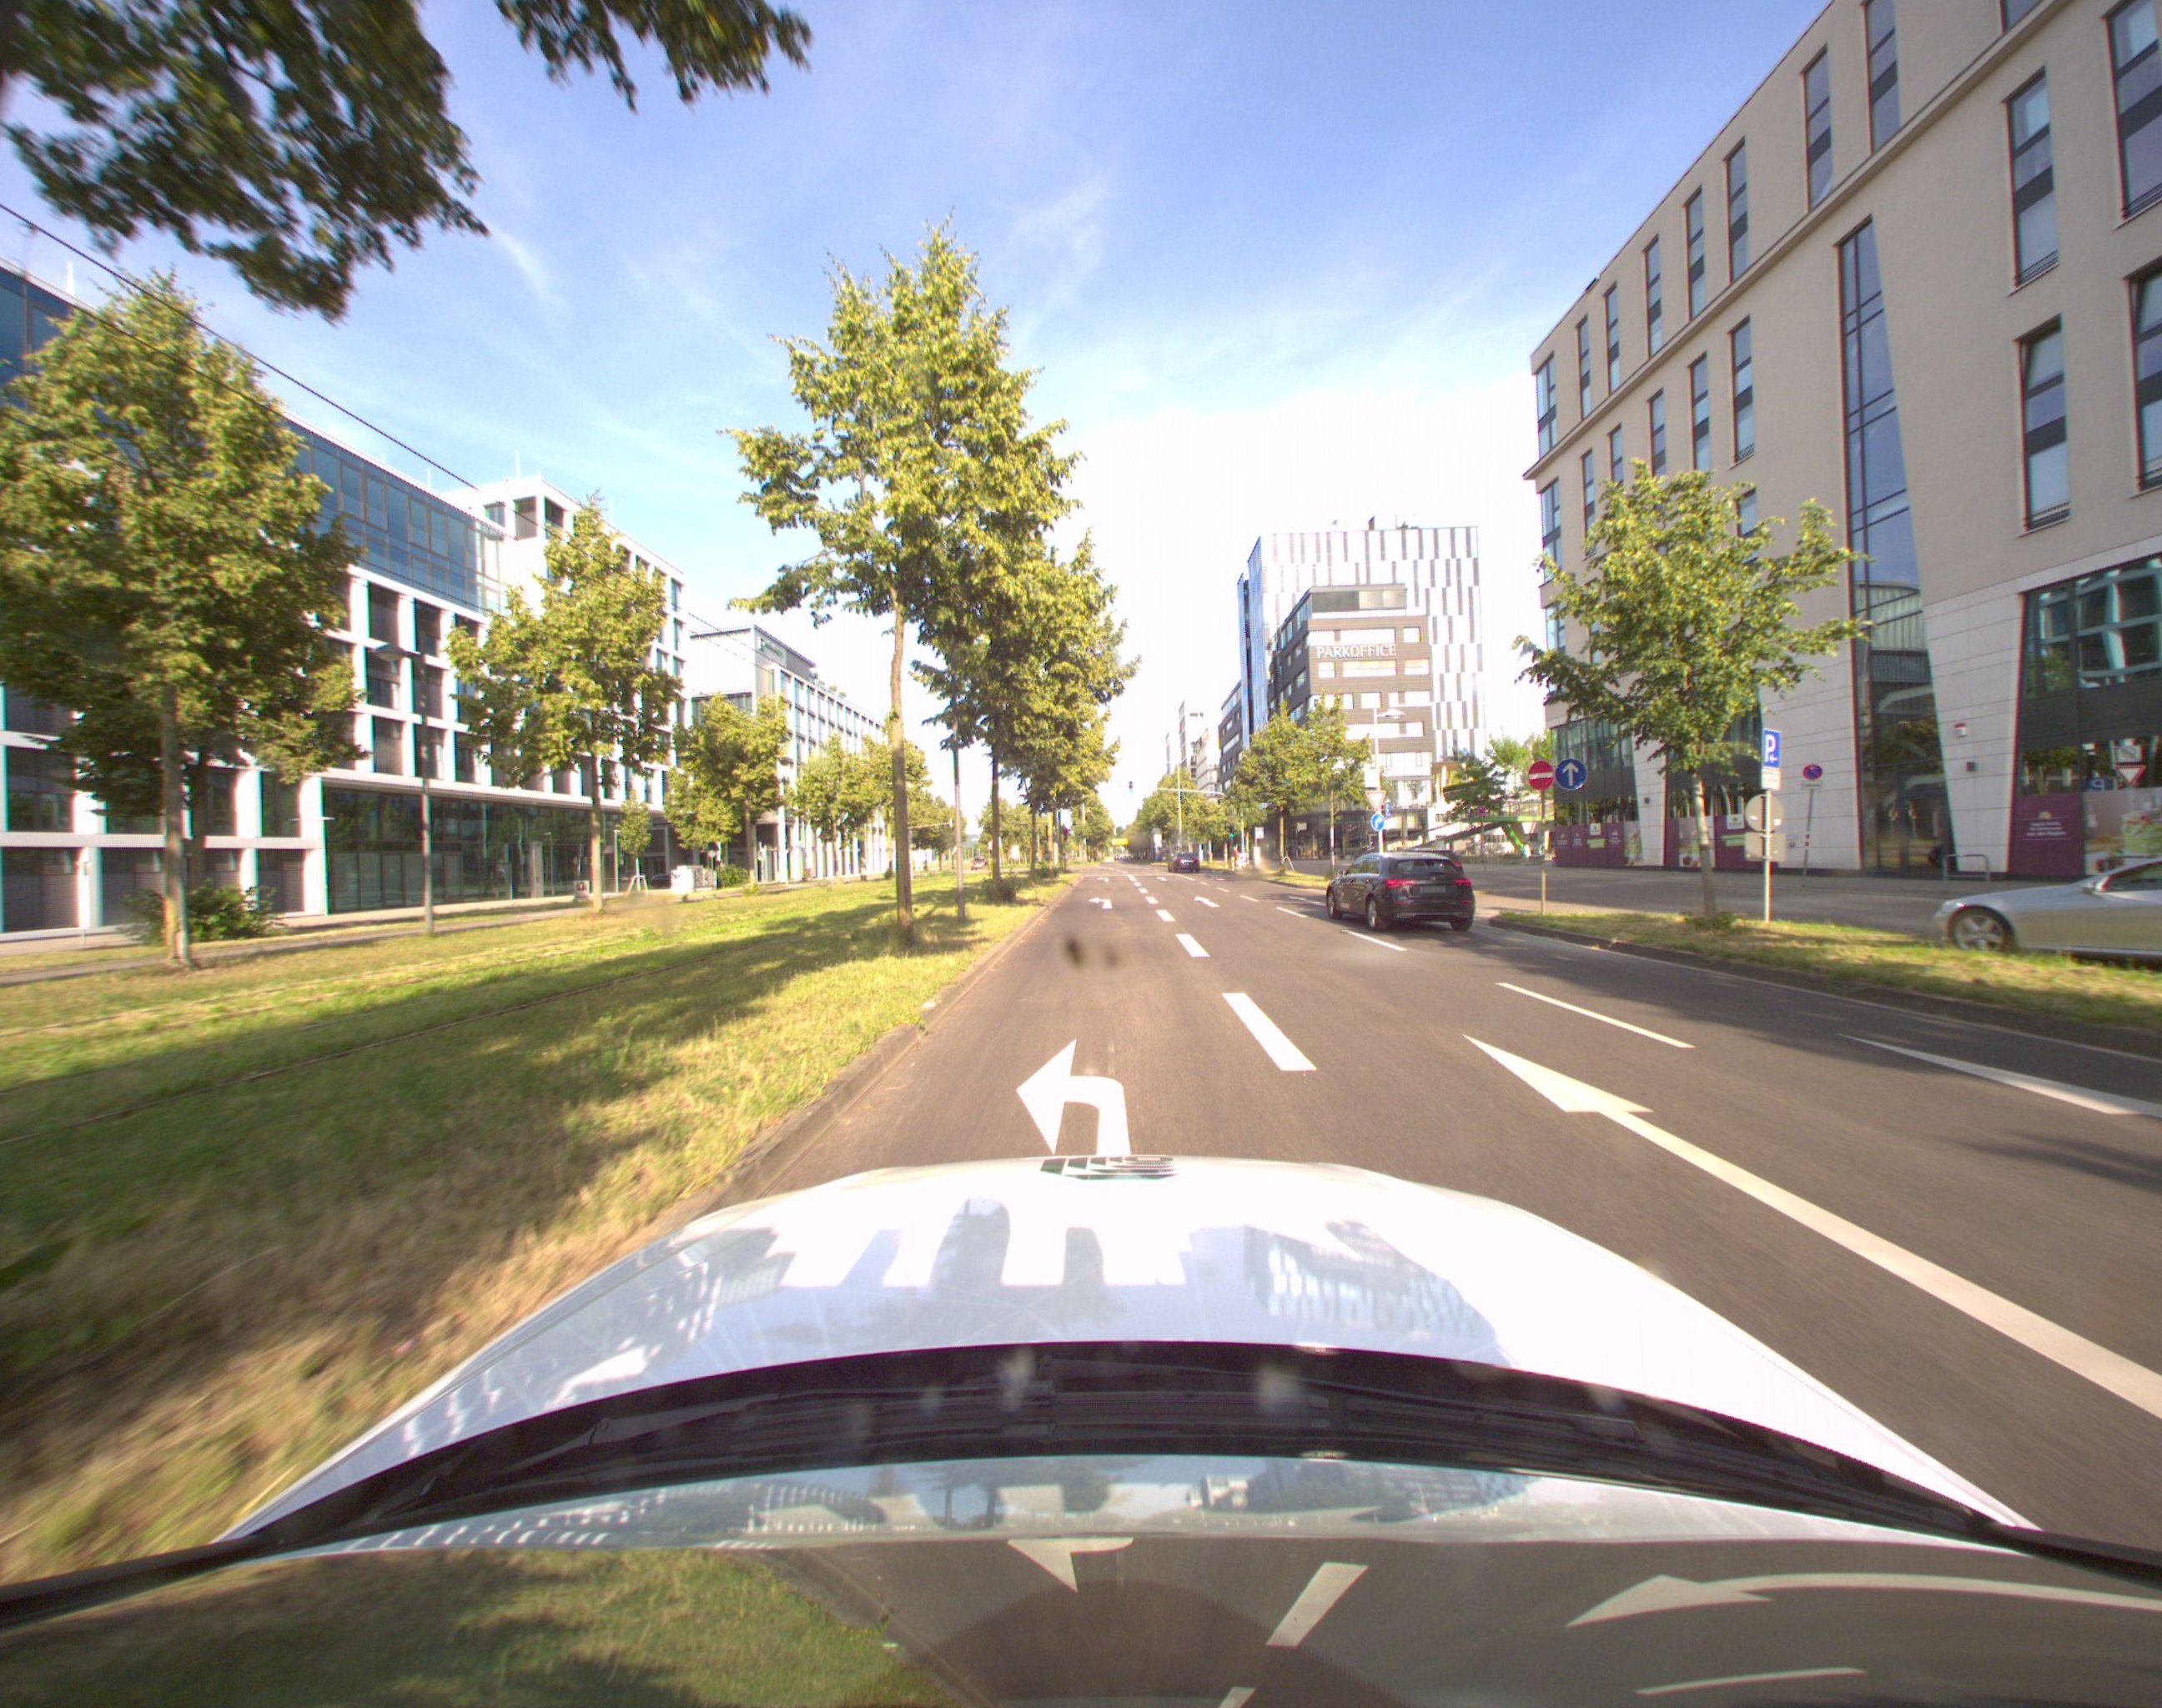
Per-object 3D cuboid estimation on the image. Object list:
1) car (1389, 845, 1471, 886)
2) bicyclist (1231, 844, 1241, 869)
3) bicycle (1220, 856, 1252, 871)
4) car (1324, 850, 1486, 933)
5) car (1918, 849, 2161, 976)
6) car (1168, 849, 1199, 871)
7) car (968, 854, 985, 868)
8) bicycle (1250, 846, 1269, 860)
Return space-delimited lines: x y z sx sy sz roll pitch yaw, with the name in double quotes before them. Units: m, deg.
"car" 12.548 0.411 29.537 1.598 1.370 4.165 0 0 7
"bicyclist" 10.665 0.179 56.140 0.573 1.707 0.541 0 -1 0
"bicycle" 10.666 0.682 56.139 2.128 1.013 0.571 0 -1 -2
"car" 6.204 0.670 16.081 1.767 1.424 3.963 0 0 2
"car" 11.497 0.574 8.426 1.702 1.242 3.906 0 0 1
"car" 7.166 0.416 57.082 1.852 1.524 3.787 0 0 2
"car" -13.390 0.894 104.606 1.679 1.775 3.880 0 0 -2
"bicycle" 22.405 -0.158 102.269 2.419 1.746 0.556 0 -1 11
